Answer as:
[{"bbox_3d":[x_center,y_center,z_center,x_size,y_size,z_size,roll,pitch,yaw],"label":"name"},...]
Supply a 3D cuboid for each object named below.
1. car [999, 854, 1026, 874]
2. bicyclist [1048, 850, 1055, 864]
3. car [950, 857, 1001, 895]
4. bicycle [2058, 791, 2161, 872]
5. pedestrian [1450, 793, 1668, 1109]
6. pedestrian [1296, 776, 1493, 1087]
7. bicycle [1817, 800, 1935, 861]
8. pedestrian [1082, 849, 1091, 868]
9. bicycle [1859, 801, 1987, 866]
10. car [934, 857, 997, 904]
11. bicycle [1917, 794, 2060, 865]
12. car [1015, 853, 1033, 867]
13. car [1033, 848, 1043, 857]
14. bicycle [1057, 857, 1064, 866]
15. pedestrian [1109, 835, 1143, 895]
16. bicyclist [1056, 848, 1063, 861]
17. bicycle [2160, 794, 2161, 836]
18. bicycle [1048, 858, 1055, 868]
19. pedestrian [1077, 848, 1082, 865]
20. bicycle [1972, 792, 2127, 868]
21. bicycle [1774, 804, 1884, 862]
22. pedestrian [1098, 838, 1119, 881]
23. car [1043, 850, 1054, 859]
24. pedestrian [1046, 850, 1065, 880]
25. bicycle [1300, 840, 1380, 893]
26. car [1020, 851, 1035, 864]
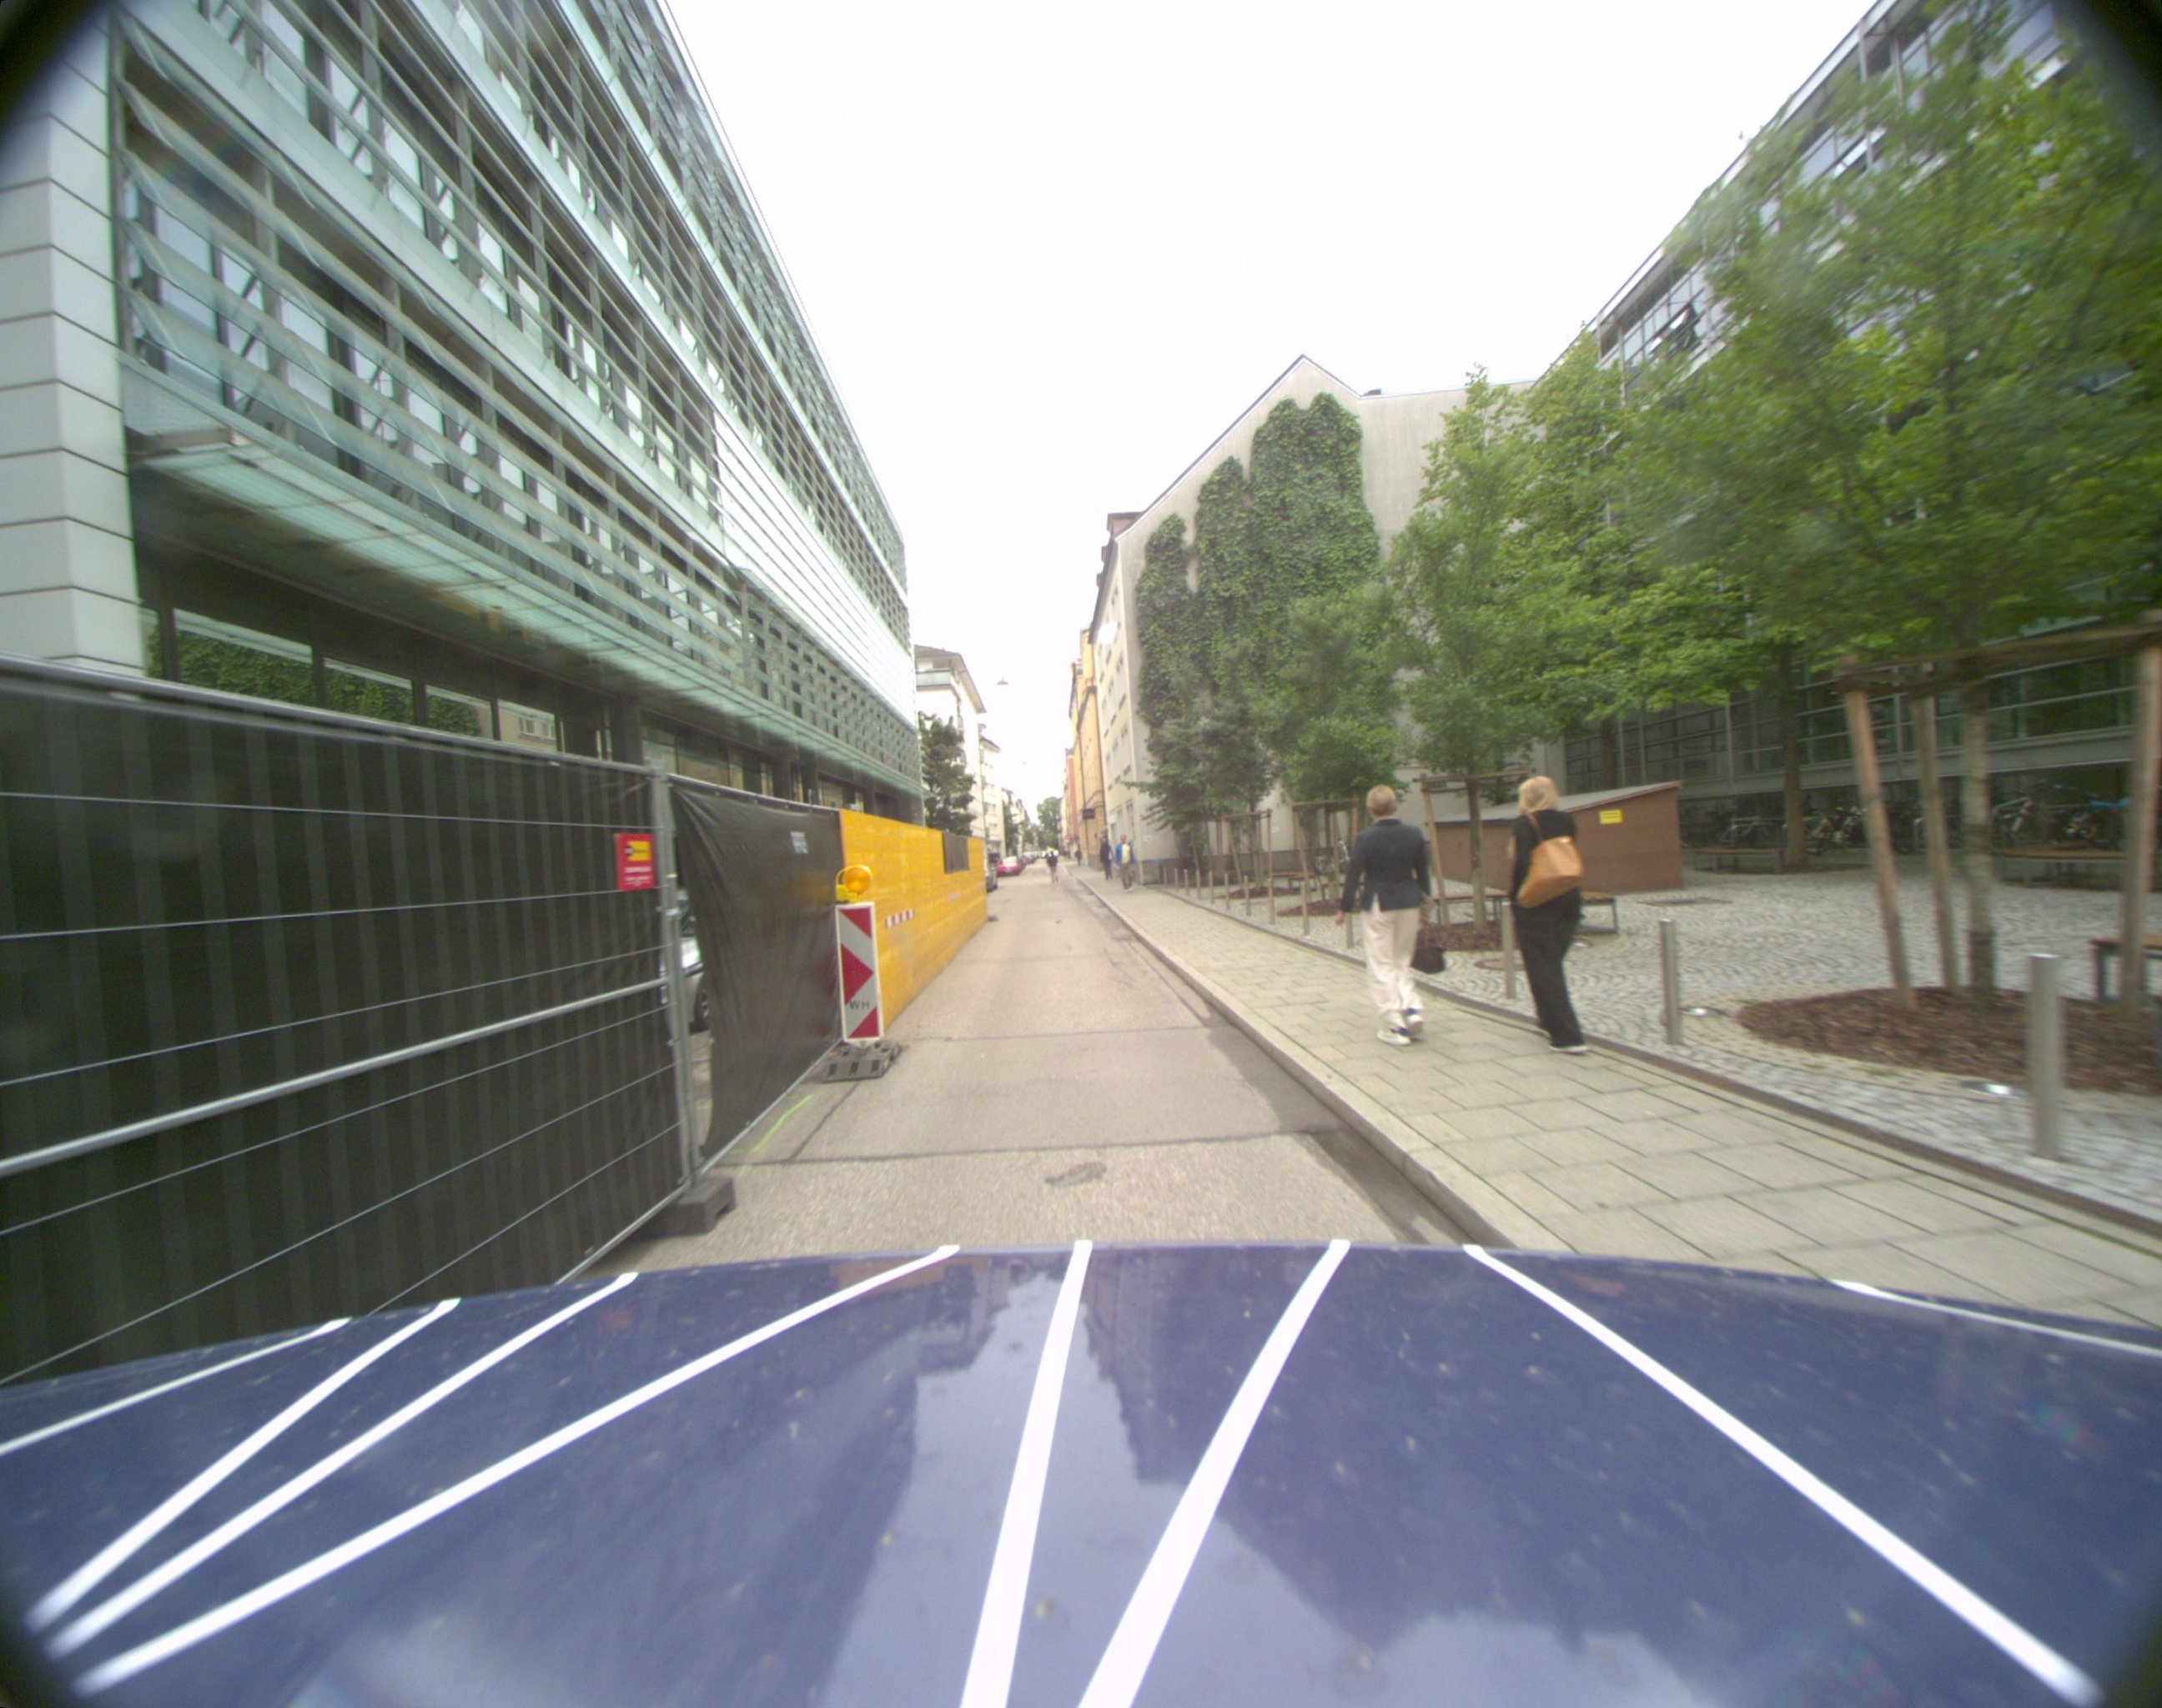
[{"bbox_3d":[-5.448,0.770,60.775,1.809,1.390,3.999,-4,1,-2],"label":"car"},{"bbox_3d":[-3.257,0.336,83.031,0.700,1.399,0.768,-4,1,-3],"label":"bicyclist"},{"bbox_3d":[-4.747,0.938,34.667,1.877,1.477,4.276,-4,1,-4],"label":"car"},{"bbox_3d":[15.092,-0.332,10.775,1.575,1.054,0.629,-4,1,1],"label":"bicycle"},{"bbox_3d":[2.787,0.513,4.537,0.554,1.650,0.997,-4,1,-2],"label":"pedestrian"},{"bbox_3d":[2.038,0.466,5.084,0.778,1.826,0.991,-4,1,-2],"label":"pedestrian"},{"bbox_3d":[15.493,-0.447,14.827,1.575,1.054,0.629,-4,1,1],"label":"bicycle"},{"bbox_3d":[0.542,0.408,71.873,0.700,1.696,0.768,-4,1,-2],"label":"pedestrian"},{"bbox_3d":[15.310,-0.365,13.841,1.575,1.054,0.629,-4,1,1],"label":"bicycle"},{"bbox_3d":[-4.437,0.966,29.792,1.999,1.478,4.276,-6,1,-5],"label":"car"},{"bbox_3d":[15.266,-0.403,12.803,1.575,1.054,0.629,-4,1,1],"label":"bicycle"},{"bbox_3d":[-5.842,0.561,77.728,1.625,1.259,4.328,-4,1,-2],"label":"car"},{"bbox_3d":[-9.455,-0.409,166.954,1.999,1.844,4.389,-4,1,-2],"label":"car"},{"bbox_3d":[-2.333,0.820,84.784,0.700,0.926,1.693,-4,1,-3],"label":"bicycle"},{"bbox_3d":[1.448,0.359,24.602,0.861,1.834,0.974,-5,1,-1],"label":"pedestrian"},{"bbox_3d":[-2.380,0.091,84.763,0.718,1.399,0.965,-4,1,-3],"label":"bicyclist"},{"bbox_3d":[14.984,-0.314,9.654,1.575,1.054,0.629,-4,1,1],"label":"bicycle"},{"bbox_3d":[-3.210,0.979,83.022,0.700,0.977,1.948,-4,1,-3],"label":"bicycle"},{"bbox_3d":[-0.160,0.234,71.982,0.386,1.666,0.448,-3,2,-5],"label":"pedestrian"},{"bbox_3d":[15.286,-0.378,12.022,1.575,1.054,0.629,-4,1,1],"label":"bicycle"},{"bbox_3d":[15.436,-0.424,15.700,1.575,1.054,0.629,-4,1,1],"label":"bicycle"},{"bbox_3d":[1.242,0.249,34.886,0.744,1.892,0.879,-5,1,-2],"label":"pedestrian"},{"bbox_3d":[-6.635,0.095,155.656,1.999,1.583,4.373,-4,1,-2],"label":"car"},{"bbox_3d":[-1.357,0.576,40.277,0.711,1.542,0.775,-5,1,-13],"label":"pedestrian"},{"bbox_3d":[6.433,0.301,19.016,0.714,1.202,1.995,-6,1,-20],"label":"bicycle"},{"bbox_3d":[-7.022,0.410,100.273,1.794,1.550,3.999,-4,1,-2],"label":"car"}]
